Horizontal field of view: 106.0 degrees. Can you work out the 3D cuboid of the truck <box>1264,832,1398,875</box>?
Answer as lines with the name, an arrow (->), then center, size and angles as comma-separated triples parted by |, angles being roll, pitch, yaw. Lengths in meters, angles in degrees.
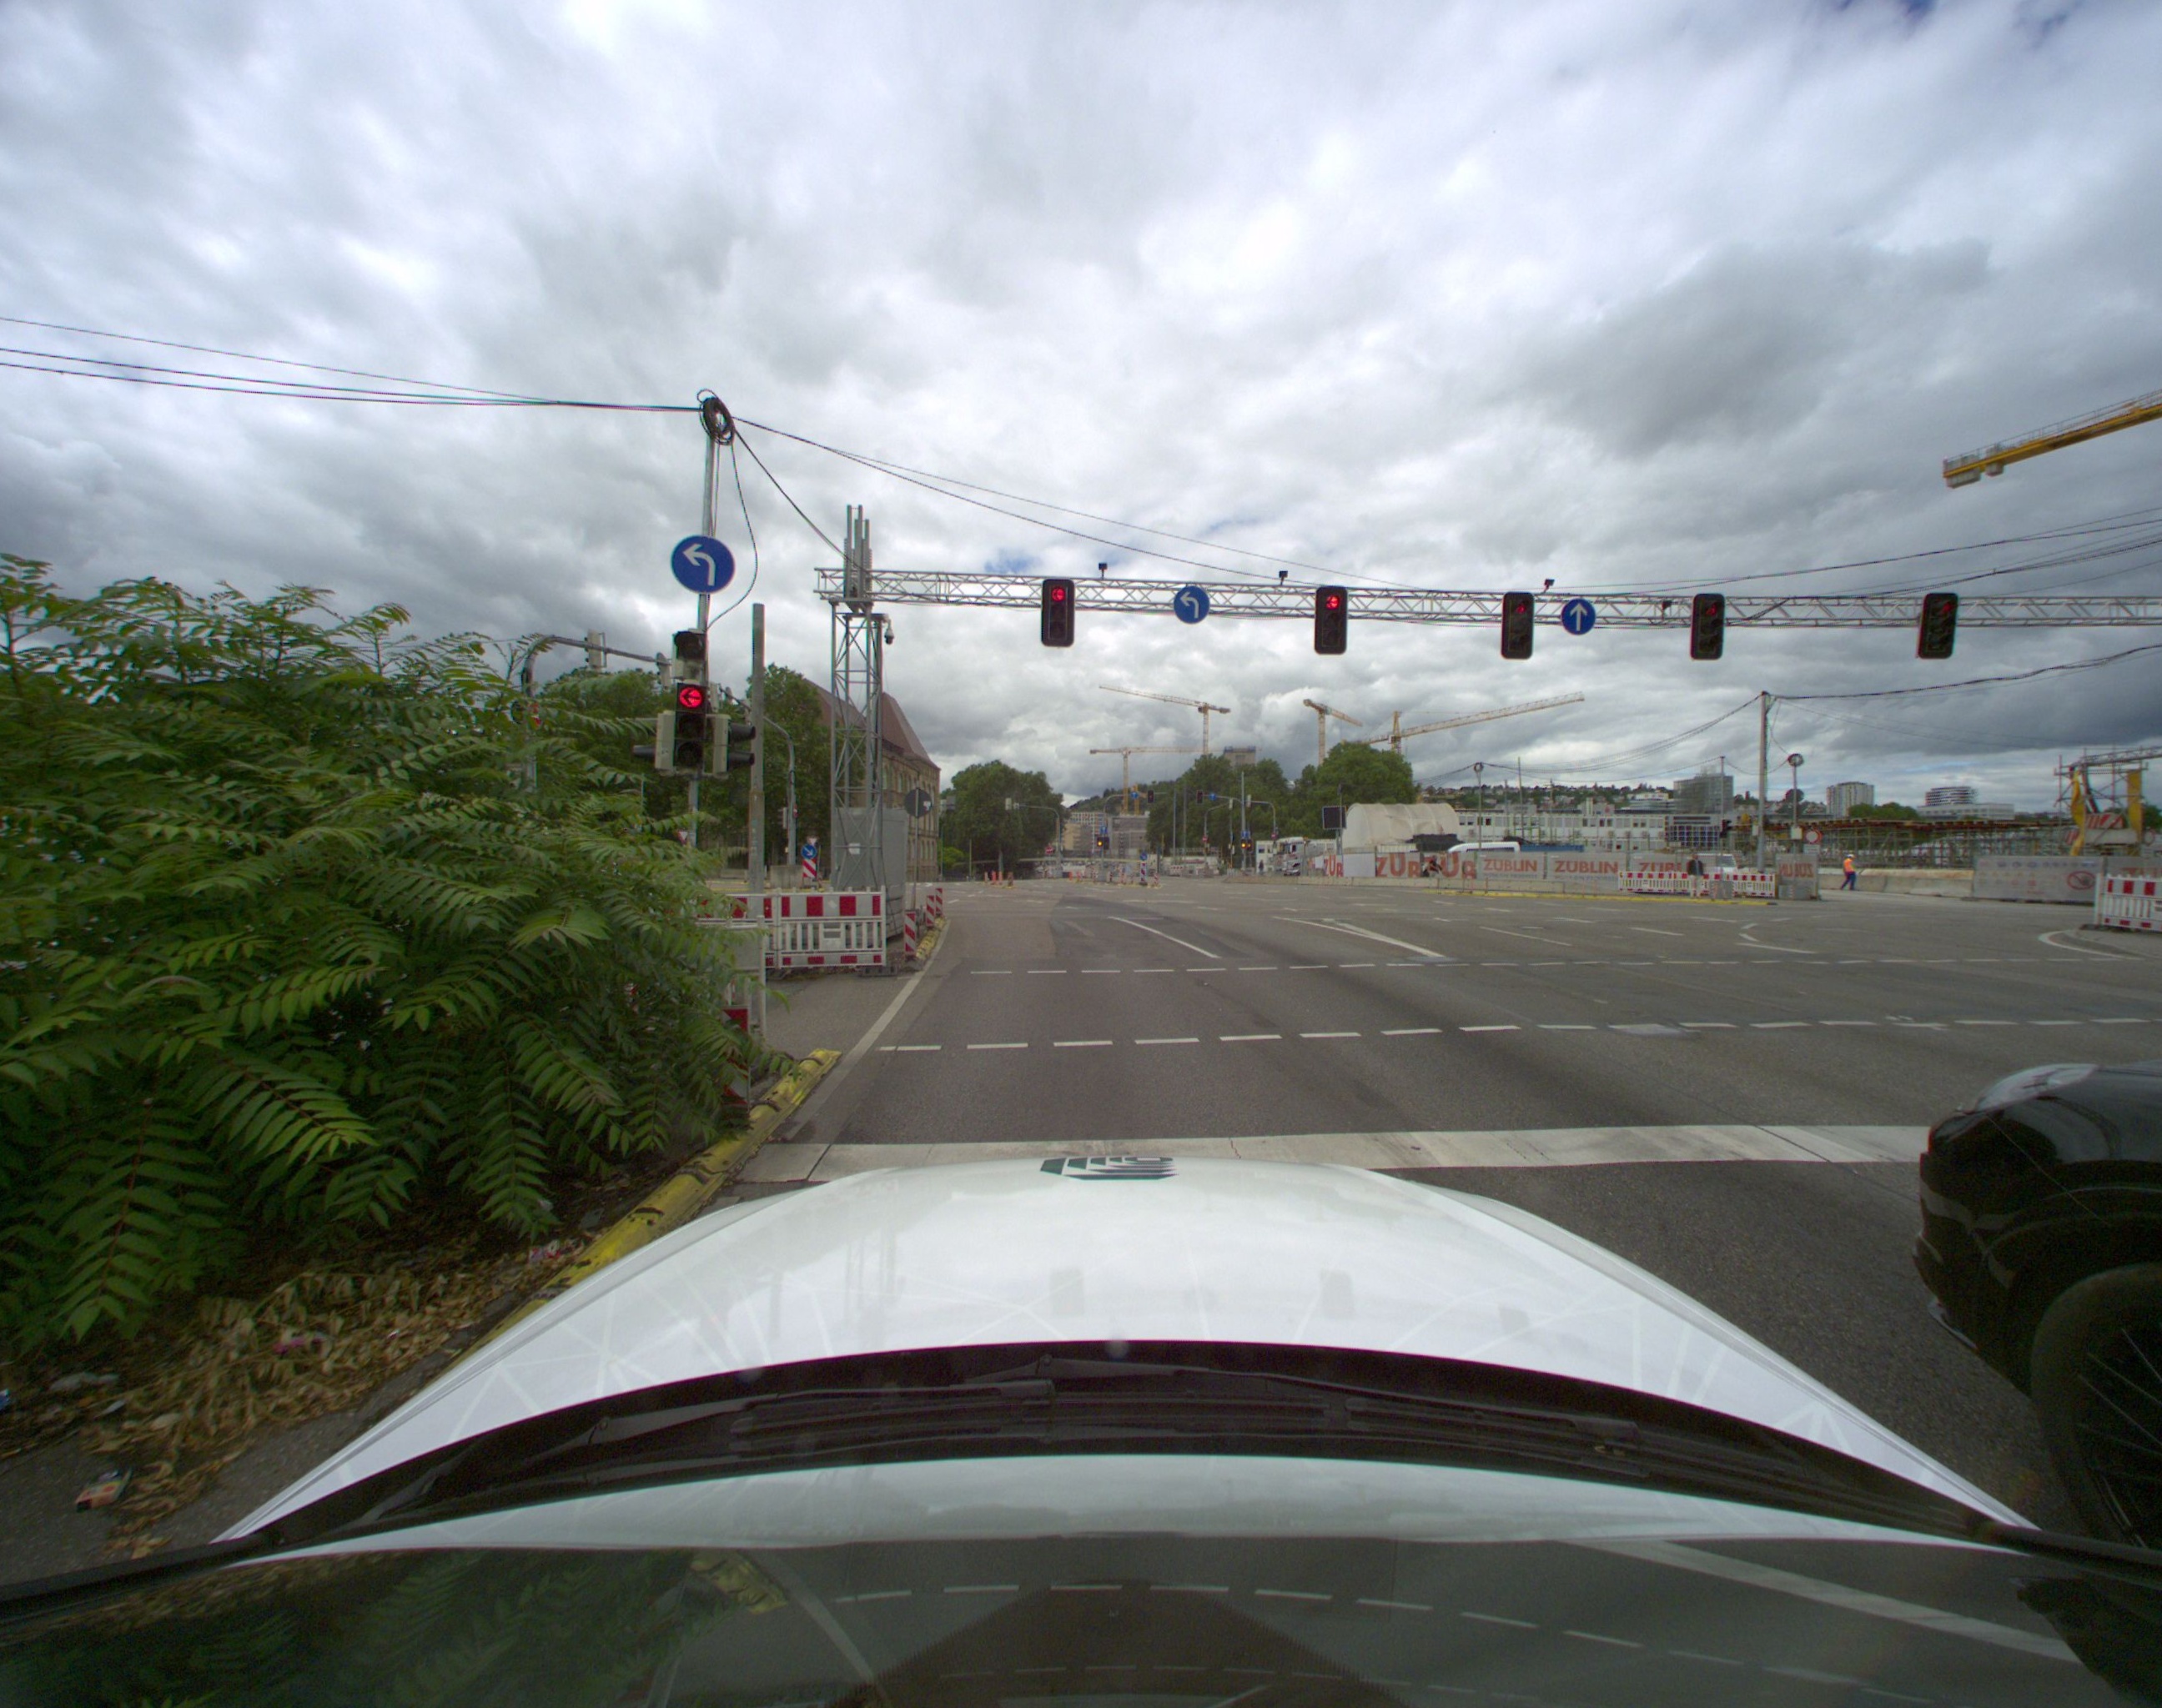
truck -> 25.038, -0.033, 81.592 | 13.062, 4.041, 3.926 | 0, 0, -18

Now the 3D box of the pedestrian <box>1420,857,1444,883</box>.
pedestrian -> 18.979, 0.869, 44.056 | 0.801, 1.378, 0.896 | 0, 0, -31

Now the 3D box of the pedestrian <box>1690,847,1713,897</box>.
pedestrian -> 25.713, 0.736, 33.755 | 0.645, 2.013, 0.520 | 0, 0, 27

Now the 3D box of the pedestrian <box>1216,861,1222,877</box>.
pedestrian -> 14.933, 1.587, 88.060 | 0.564, 1.689, 0.472 | 0, 0, 1

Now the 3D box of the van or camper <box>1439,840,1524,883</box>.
van or camper -> 23.148, 0.420, 47.205 | 4.181, 2.357, 2.009 | 0, 0, 16

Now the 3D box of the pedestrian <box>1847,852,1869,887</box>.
pedestrian -> 38.803, 0.754, 40.663 | 0.651, 1.717, 0.516 | 0, 0, -9

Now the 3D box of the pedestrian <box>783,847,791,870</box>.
pedestrian -> -26.835, 0.415, 74.251 | 0.530, 2.014, 0.423 | 1, -1, -42

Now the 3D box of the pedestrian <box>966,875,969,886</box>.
pedestrian -> -21.502, 5.069, 154.738 | 0.522, 2.014, 0.567 | 0, 0, 2

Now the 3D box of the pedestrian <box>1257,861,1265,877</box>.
pedestrian -> 19.489, 1.592, 88.097 | 0.615, 1.689, 0.716 | 0, 0, 31

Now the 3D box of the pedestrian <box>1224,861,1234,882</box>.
pedestrian -> 12.250, 1.429, 67.336 | 0.726, 1.689, 0.678 | 0, 0, 1

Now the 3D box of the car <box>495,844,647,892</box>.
car -> -18.824, 0.500, 30.257 | 4.315, 1.676, 1.992 | 0, 0, -12

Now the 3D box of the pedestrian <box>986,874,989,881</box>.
pedestrian -> -20.628, 5.243, 179.517 | 0.534, 1.592, 0.515 | 0, 0, -2

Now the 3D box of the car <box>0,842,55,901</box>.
car -> -32.899, 0.478, 23.305 | 4.302, 1.676, 1.998 | 0, 0, -3

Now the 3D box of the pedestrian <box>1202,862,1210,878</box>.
pedestrian -> 13.442, 1.735, 87.562 | 0.726, 1.689, 0.678 | 0, 0, 1

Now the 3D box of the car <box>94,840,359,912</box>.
car -> -21.093, 0.526, 20.274 | 4.302, 1.676, 1.998 | 0, 0, -3

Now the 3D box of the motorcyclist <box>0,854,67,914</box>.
motorcyclist -> -25.624, 0.712, 19.806 | 0.963, 1.423, 0.745 | 0, 0, -4

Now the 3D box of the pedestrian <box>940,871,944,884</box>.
pedestrian -> -21.241, 3.602, 124.151 | 0.522, 2.014, 0.567 | 0, 0, 2

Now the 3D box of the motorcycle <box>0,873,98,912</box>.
motorcycle -> -25.479, 0.930, 19.821 | 2.051, 0.924, 0.756 | 0, 0, -4
